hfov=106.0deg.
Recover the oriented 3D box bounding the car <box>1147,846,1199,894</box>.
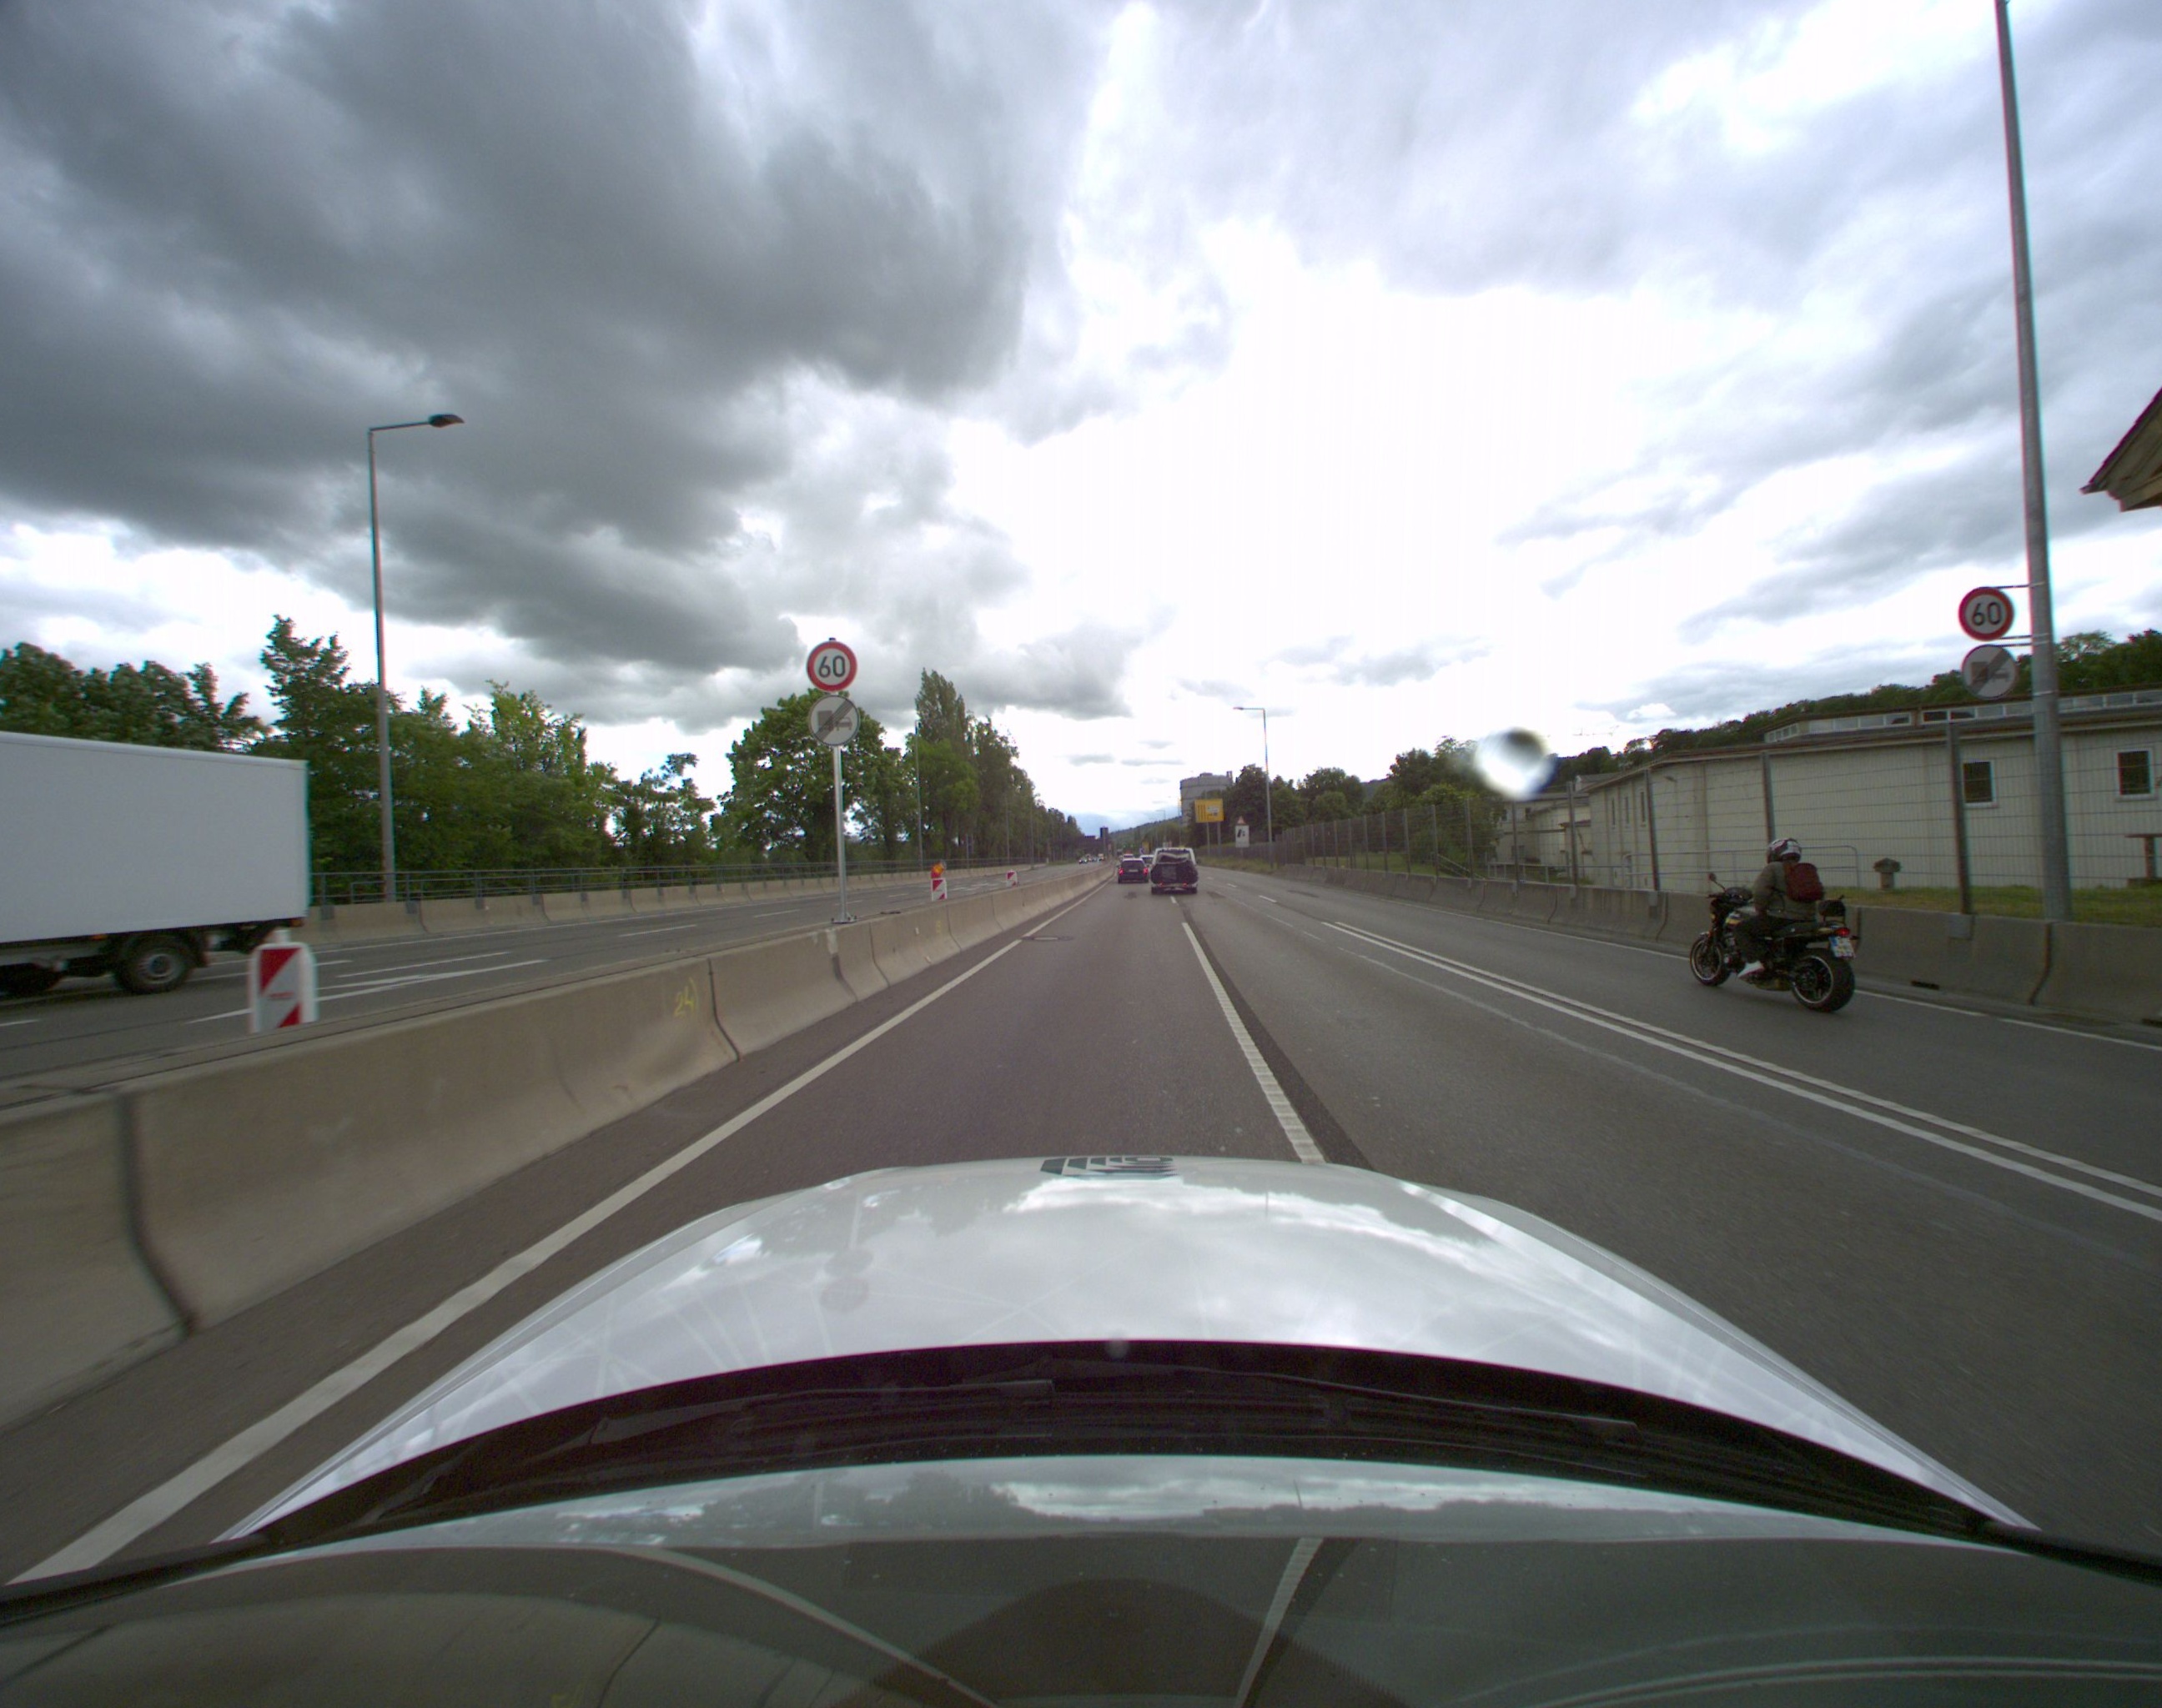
[{"bbox_3d":[3.822,0.605,34.028,1.983,1.859,5.651,0,0,6],"label":"car"}]

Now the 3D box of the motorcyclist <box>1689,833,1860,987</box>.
[{"bbox_3d":[7.145,0.551,8.446,0.909,1.477,0.967,-2,-1,1],"label":"motorcyclist"}]

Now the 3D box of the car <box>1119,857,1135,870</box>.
[{"bbox_3d":[6.255,1.339,110.529,1.983,1.673,4.007,-1,-1,6],"label":"car"}]

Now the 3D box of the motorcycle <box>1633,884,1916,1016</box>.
[{"bbox_3d":[7.138,0.912,8.654,0.741,1.083,2.665,-2,-1,1],"label":"motorcycle"}]

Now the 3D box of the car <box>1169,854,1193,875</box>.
[{"bbox_3d":[9.610,0.992,78.300,1.985,1.860,4.004,-2,0,4],"label":"car"}]

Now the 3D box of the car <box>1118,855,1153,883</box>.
[{"bbox_3d":[3.189,0.818,47.206,1.806,1.434,4.071,-3,0,5],"label":"car"}]

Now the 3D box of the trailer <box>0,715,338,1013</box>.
[{"bbox_3d":[-12.450,0.125,9.385,2.262,3.138,5.717,-1,-1,4],"label":"trailer"}]

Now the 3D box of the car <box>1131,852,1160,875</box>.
[{"bbox_3d":[4.398,0.634,55.826,1.912,1.489,4.069,-2,0,3],"label":"car"}]

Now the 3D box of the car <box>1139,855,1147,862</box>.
[{"bbox_3d":[15.329,1.120,201.681,1.985,1.654,4.002,-1,0,2],"label":"car"}]

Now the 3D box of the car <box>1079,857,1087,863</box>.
[{"bbox_3d":[0.499,1.391,191.663,1.727,1.374,3.617,-2,0,1],"label":"car"}]
